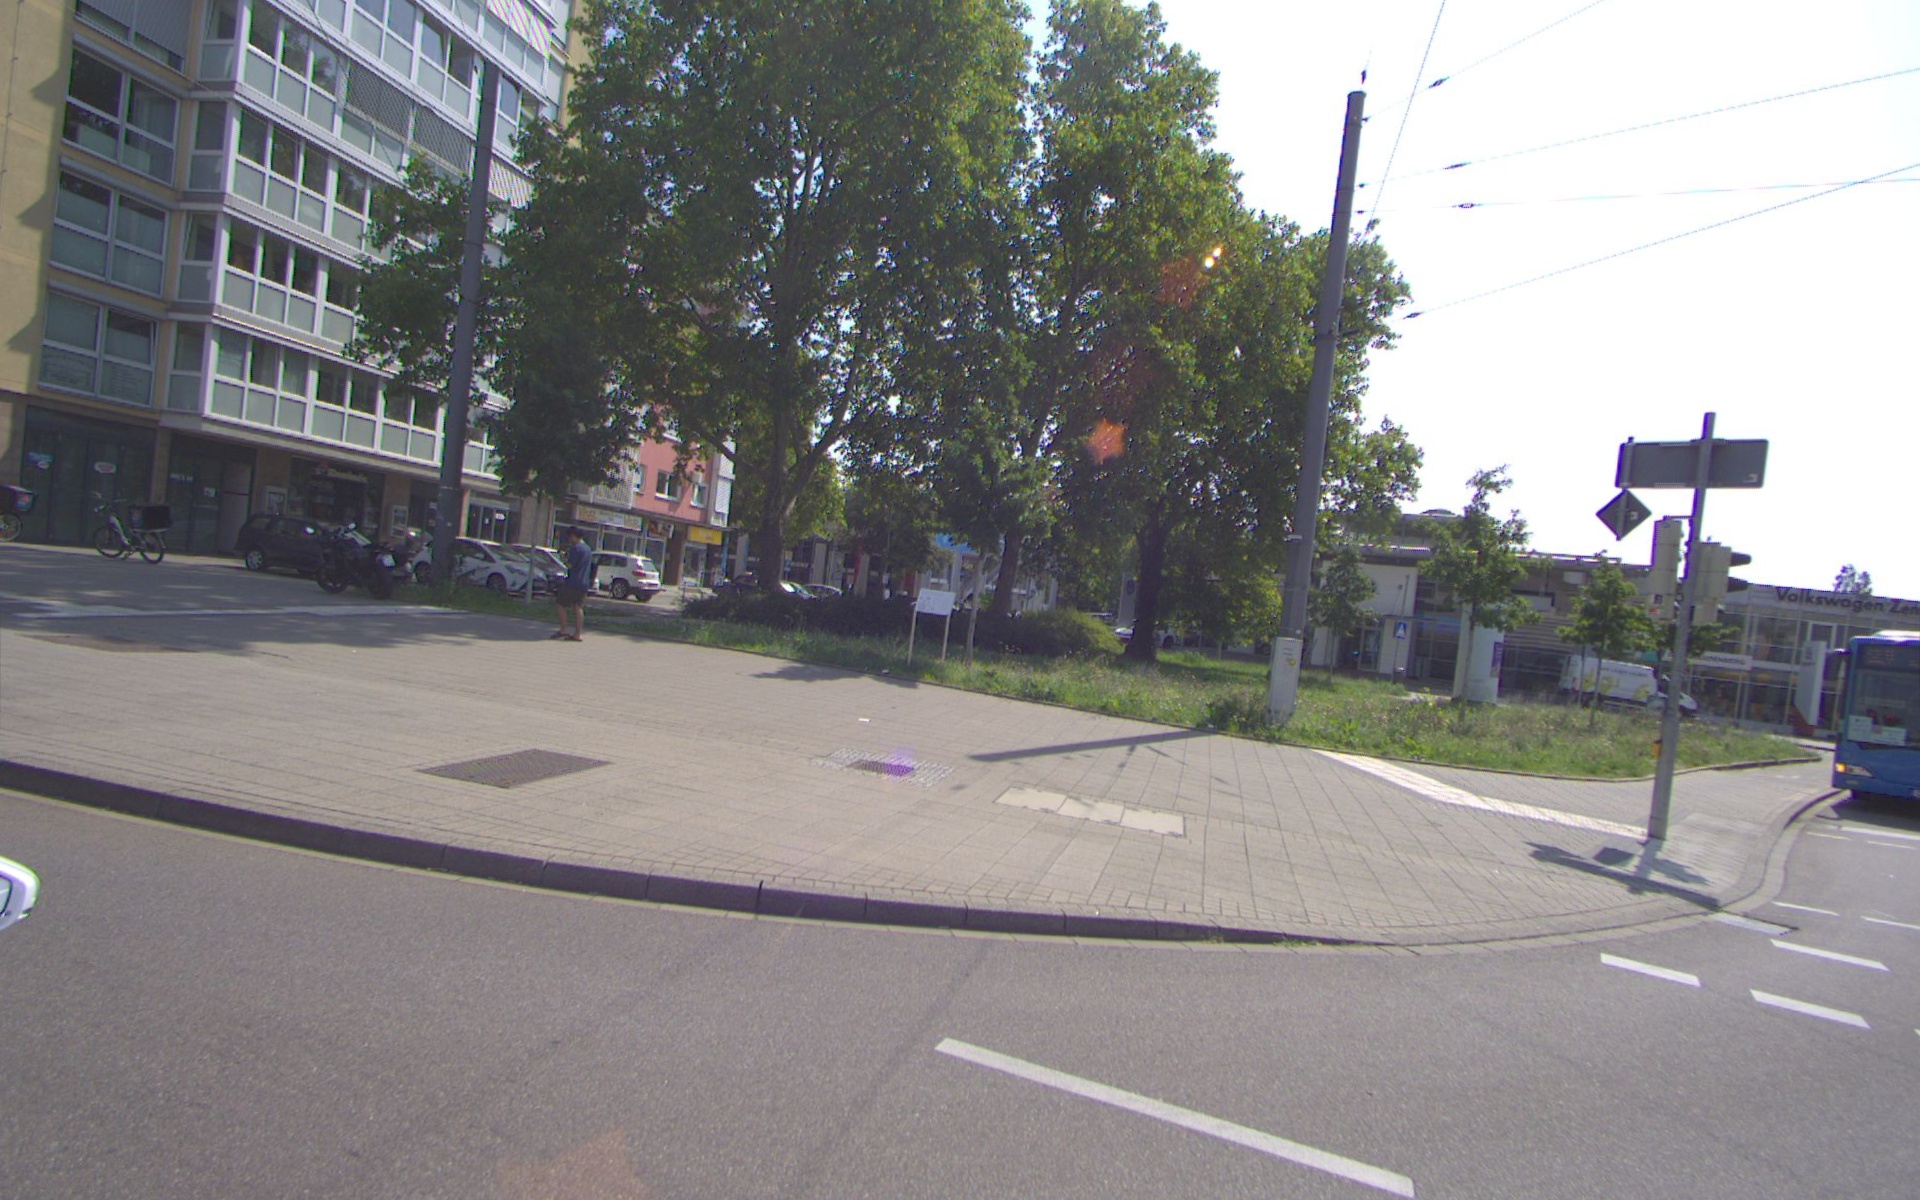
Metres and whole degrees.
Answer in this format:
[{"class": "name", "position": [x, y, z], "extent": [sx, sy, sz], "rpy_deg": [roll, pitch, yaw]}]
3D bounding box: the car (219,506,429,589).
[{"class": "car", "position": [-15.789, -1.290, 25.073], "extent": [4.165, 1.489, 1.906], "rpy_deg": [7, 1, 11]}]

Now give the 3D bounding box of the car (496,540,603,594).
[{"class": "car", "position": [-14.163, -1.142, 34.738], "extent": [3.039, 1.447, 1.404], "rpy_deg": [7, 1, 11]}]

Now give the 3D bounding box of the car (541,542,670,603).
[{"class": "car", "position": [-13.052, -1.001, 37.133], "extent": [3.996, 1.687, 1.791], "rpy_deg": [7, 1, 11]}]

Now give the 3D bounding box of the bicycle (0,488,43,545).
[{"class": "bicycle", "position": [-21.091, -1.883, 21.560], "extent": [0.586, 1.158, 1.966], "rpy_deg": [7, 1, 29]}]

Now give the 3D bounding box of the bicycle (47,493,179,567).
[{"class": "bicycle", "position": [-17.813, -1.472, 21.158], "extent": [2.388, 1.254, 0.794], "rpy_deg": [7, 1, 14]}]

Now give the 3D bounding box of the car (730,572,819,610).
[{"class": "car", "position": [-9.553, -0.449, 51.863], "extent": [3.996, 1.415, 1.791], "rpy_deg": [7, 1, 11]}]

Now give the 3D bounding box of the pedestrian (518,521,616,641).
[{"class": "pedestrian", "position": [-5.783, -0.269, 14.840], "extent": [0.931, 1.630, 0.793], "rpy_deg": [6, 2, 11]}]

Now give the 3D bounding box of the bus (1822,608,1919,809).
[{"class": "bus", "position": [19.921, 2.342, 19.938], "extent": [12.000, 3.103, 2.701], "rpy_deg": [7, 1, -43]}]

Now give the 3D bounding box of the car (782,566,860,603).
[{"class": "car", "position": [-8.101, -0.899, 58.836], "extent": [3.996, 1.687, 1.791], "rpy_deg": [7, 1, 11]}]

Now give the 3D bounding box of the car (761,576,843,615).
[{"class": "car", "position": [-8.834, -0.241, 56.430], "extent": [3.996, 1.687, 1.791], "rpy_deg": [7, 1, 11]}]

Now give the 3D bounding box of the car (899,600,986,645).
[{"class": "car", "position": [-0.730, 0.937, 42.333], "extent": [3.229, 1.479, 1.615], "rpy_deg": [7, 1, 14]}]

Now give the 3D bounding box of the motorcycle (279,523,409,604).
[{"class": "motorcycle", "position": [-10.739, -0.636, 17.531], "extent": [2.075, 1.151, 0.911], "rpy_deg": [7, 1, 26]}]

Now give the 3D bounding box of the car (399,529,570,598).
[{"class": "car", "position": [-14.104, -1.070, 29.912], "extent": [4.165, 1.489, 1.906], "rpy_deg": [7, 1, 11]}]

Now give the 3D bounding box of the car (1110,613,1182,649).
[{"class": "car", "position": [11.993, 1.983, 64.811], "extent": [4.208, 1.775, 1.704], "rpy_deg": [7, 1, -27]}]

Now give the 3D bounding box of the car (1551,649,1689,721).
[{"class": "car", "position": [32.648, 4.184, 49.919], "extent": [5.118, 2.617, 1.848], "rpy_deg": [9, 2, 14]}]
